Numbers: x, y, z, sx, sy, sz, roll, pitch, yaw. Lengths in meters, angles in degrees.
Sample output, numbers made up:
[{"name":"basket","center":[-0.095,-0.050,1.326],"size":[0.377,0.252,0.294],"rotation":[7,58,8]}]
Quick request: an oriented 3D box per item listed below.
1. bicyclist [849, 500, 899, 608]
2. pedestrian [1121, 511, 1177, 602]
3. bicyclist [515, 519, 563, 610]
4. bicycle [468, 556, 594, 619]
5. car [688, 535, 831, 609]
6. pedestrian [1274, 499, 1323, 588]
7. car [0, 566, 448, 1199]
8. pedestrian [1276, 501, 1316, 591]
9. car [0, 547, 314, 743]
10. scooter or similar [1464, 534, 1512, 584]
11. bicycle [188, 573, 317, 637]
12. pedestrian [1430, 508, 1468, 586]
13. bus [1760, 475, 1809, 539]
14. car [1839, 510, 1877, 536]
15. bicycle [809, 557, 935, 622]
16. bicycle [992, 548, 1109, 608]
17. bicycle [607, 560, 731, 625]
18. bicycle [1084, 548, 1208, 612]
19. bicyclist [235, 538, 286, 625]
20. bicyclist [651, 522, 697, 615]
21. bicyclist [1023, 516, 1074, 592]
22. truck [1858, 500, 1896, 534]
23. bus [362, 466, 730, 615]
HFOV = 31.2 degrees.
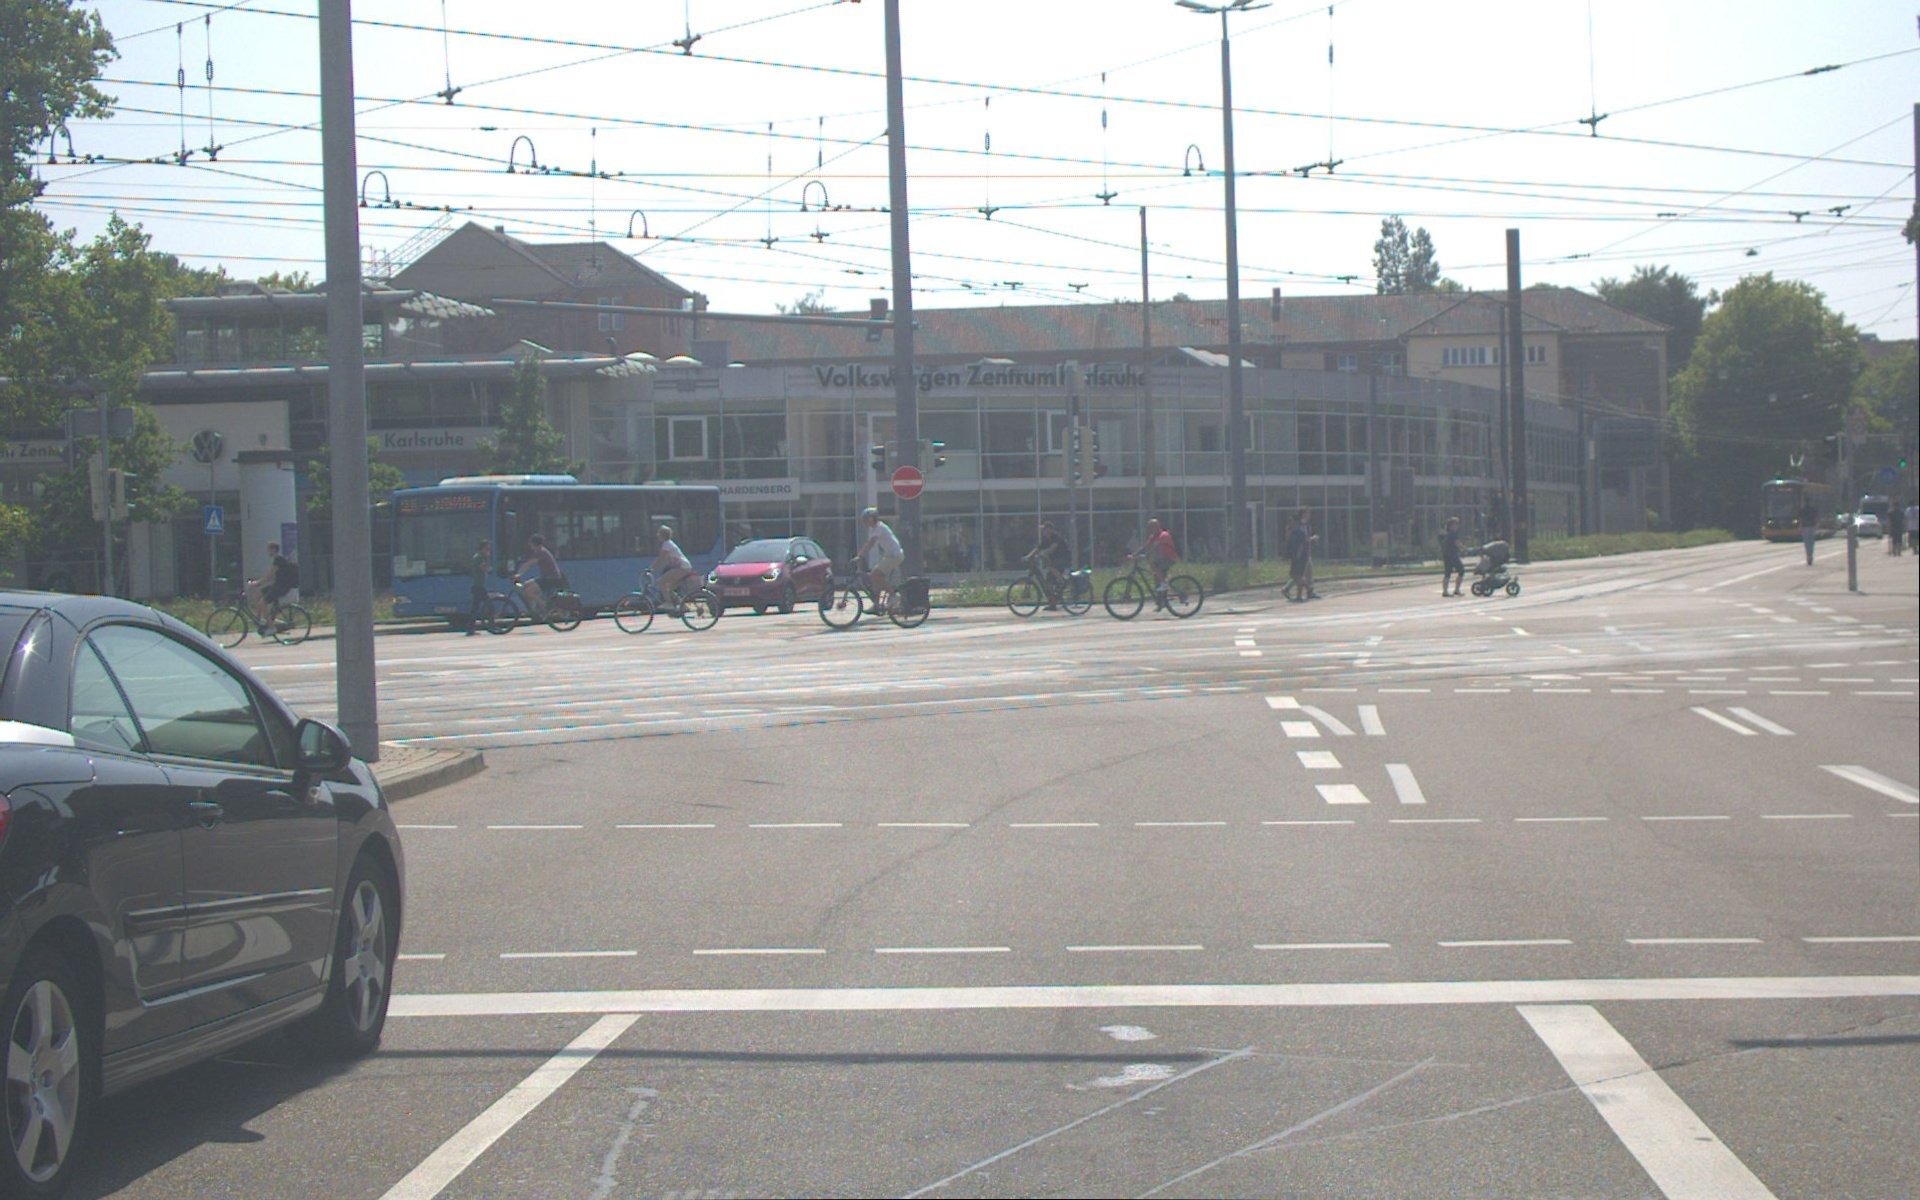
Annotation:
[{"name":"bicyclist","center":[-1.416,-0.759,56.668],"size":[0.704,1.758,0.715],"rotation":[-1,1,-9]},{"name":"pedestrian","center":[3.201,-0.741,58.320],"size":[0.662,1.529,0.715],"rotation":[-2,1,-23]},{"name":"bicyclist","center":[-7.699,-0.648,62.885],"size":[0.761,1.628,0.763],"rotation":[-2,1,-13]},{"name":"bicycle","center":[-7.845,-0.242,62.858],"size":[2.196,1.084,0.763],"rotation":[-2,1,-13]},{"name":"car","center":[-4.113,-0.591,71.004],"size":[1.729,1.415,3.837],"rotation":[-1,1,16]},{"name":"pedestrian","center":[6.757,-1.132,68.594],"size":[0.784,1.746,0.808],"rotation":[-1,1,17]},{"name":"car","center":[-2.702,0.643,8.936],"size":[1.758,1.399,3.980],"rotation":[0,1,6]},{"name":"pedestrian","center":[6.619,-1.070,67.648],"size":[0.622,1.746,0.627],"rotation":[-1,1,19]},{"name":"car","center":[-7.285,0.330,27.287],"size":[1.942,1.395,4.581],"rotation":[-1,1,24]},{"name":"scooter or similar","center":[10.680,-0.831,69.595],"size":[0.835,0.971,0.793],"rotation":[-1,1,1]},{"name":"bicycle","center":[-12.743,0.088,61.910],"size":[2.196,1.084,0.763],"rotation":[-2,1,-17]},{"name":"pedestrian","center":[9.897,-1.077,69.602],"size":[0.635,1.555,0.747],"rotation":[-1,1,1]},{"name":"bus","center":[46.761,-5.243,194.923],"size":[2.563,3.494,7.796],"rotation":[-1,1,14]},{"name":"car","center":[52.233,-4.485,200.101],"size":[1.995,1.478,3.998],"rotation":[-1,1,13]},{"name":"bicycle","center":[-1.447,-0.176,56.676],"size":[1.977,1.015,0.715],"rotation":[-2,1,-9]},{"name":"bicycle","center":[1.631,-0.400,62.098],"size":[1.977,1.015,0.715],"rotation":[-2,1,-23]},{"name":"bicycle","center":[-4.785,-0.126,56.597],"size":[1.978,1.015,0.715],"rotation":[-1,1,-1]},{"name":"bicycle","center":[3.155,-0.342,58.300],"size":[1.977,1.015,0.715],"rotation":[-2,1,-23]},{"name":"bicyclist","center":[-12.605,-0.336,61.945],"size":[0.797,1.536,0.763],"rotation":[-2,1,-17]},{"name":"bicyclist","center":[-4.707,-0.519,56.585],"size":[0.664,1.503,0.715],"rotation":[-1,1,-1]},{"name":"bicyclist","center":[1.601,-0.829,62.109],"size":[0.668,1.345,0.712],"rotation":[-2,1,-23]},{"name":"truck","center":[57.093,-5.181,214.020],"size":[2.116,2.007,5.099],"rotation":[-1,1,16]},{"name":"bus","center":[-8.681,-1.330,74.304],"size":[3.056,2.921,11.842],"rotation":[-1,1,18]}]
